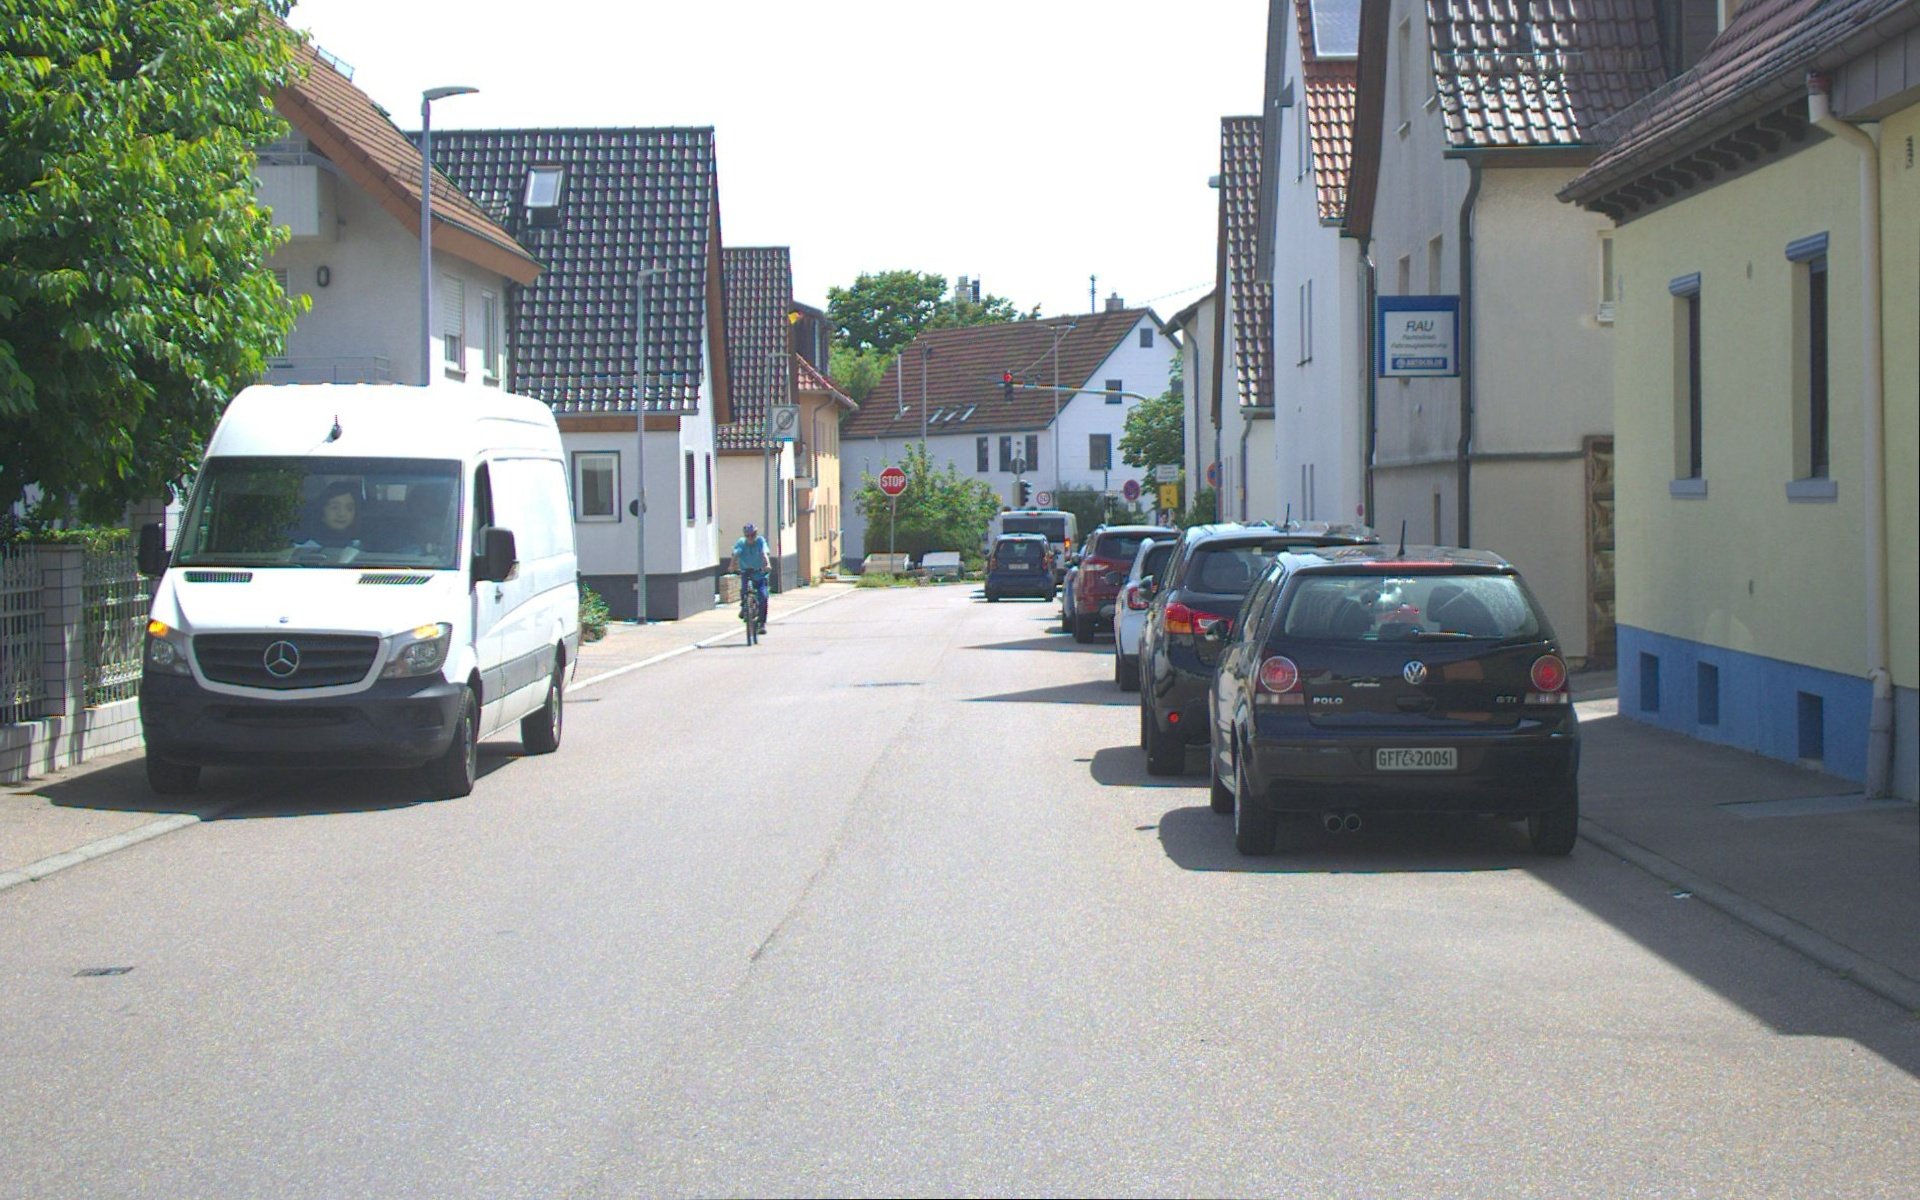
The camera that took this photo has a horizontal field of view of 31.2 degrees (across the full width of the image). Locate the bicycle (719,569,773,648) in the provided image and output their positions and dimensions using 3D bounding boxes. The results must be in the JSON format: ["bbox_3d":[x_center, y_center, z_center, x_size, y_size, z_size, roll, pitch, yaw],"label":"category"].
[{"bbox_3d":[-3.190,0.116,51.296,0.670,1.128,2.189,0,1,0],"label":"bicycle"}]

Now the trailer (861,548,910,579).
[{"bbox_3d":[-2.410,-1.189,111.324,1.502,0.924,1.012,2,1,3],"label":"trailer"}]

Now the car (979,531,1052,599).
[{"bbox_3d":[1.325,-0.833,81.204,1.516,1.561,3.184,0,1,4],"label":"car"}]

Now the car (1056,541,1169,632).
[{"bbox_3d":[2.474,-0.255,56.277,1.763,1.419,4.592,0,1,2],"label":"car"}]

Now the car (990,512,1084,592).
[{"bbox_3d":[2.165,-1.339,95.392,2.129,2.151,4.735,0,1,7],"label":"car"}]

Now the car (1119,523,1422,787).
[{"bbox_3d":[1.995,0.295,23.126,1.728,1.594,4.253,1,1,1],"label":"car"}]

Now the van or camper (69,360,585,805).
[{"bbox_3d":[-4.065,-0.166,23.446,2.184,2.563,6.807,1,1,0],"label":"van or camper"}]

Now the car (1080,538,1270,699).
[{"bbox_3d":[2.152,0.153,35.065,1.673,1.553,3.040,1,1,-1],"label":"car"}]

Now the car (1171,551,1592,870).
[{"bbox_3d":[2.053,0.484,17.684,1.610,1.426,3.754,1,1,-1],"label":"car"}]

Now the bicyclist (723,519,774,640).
[{"bbox_3d":[-3.153,-0.314,51.373,0.713,1.792,0.942,0,1,-1],"label":"bicyclist"}]

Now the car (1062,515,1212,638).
[{"bbox_3d":[2.537,-0.370,50.287,1.875,1.694,4.183,1,1,-1],"label":"car"}]
